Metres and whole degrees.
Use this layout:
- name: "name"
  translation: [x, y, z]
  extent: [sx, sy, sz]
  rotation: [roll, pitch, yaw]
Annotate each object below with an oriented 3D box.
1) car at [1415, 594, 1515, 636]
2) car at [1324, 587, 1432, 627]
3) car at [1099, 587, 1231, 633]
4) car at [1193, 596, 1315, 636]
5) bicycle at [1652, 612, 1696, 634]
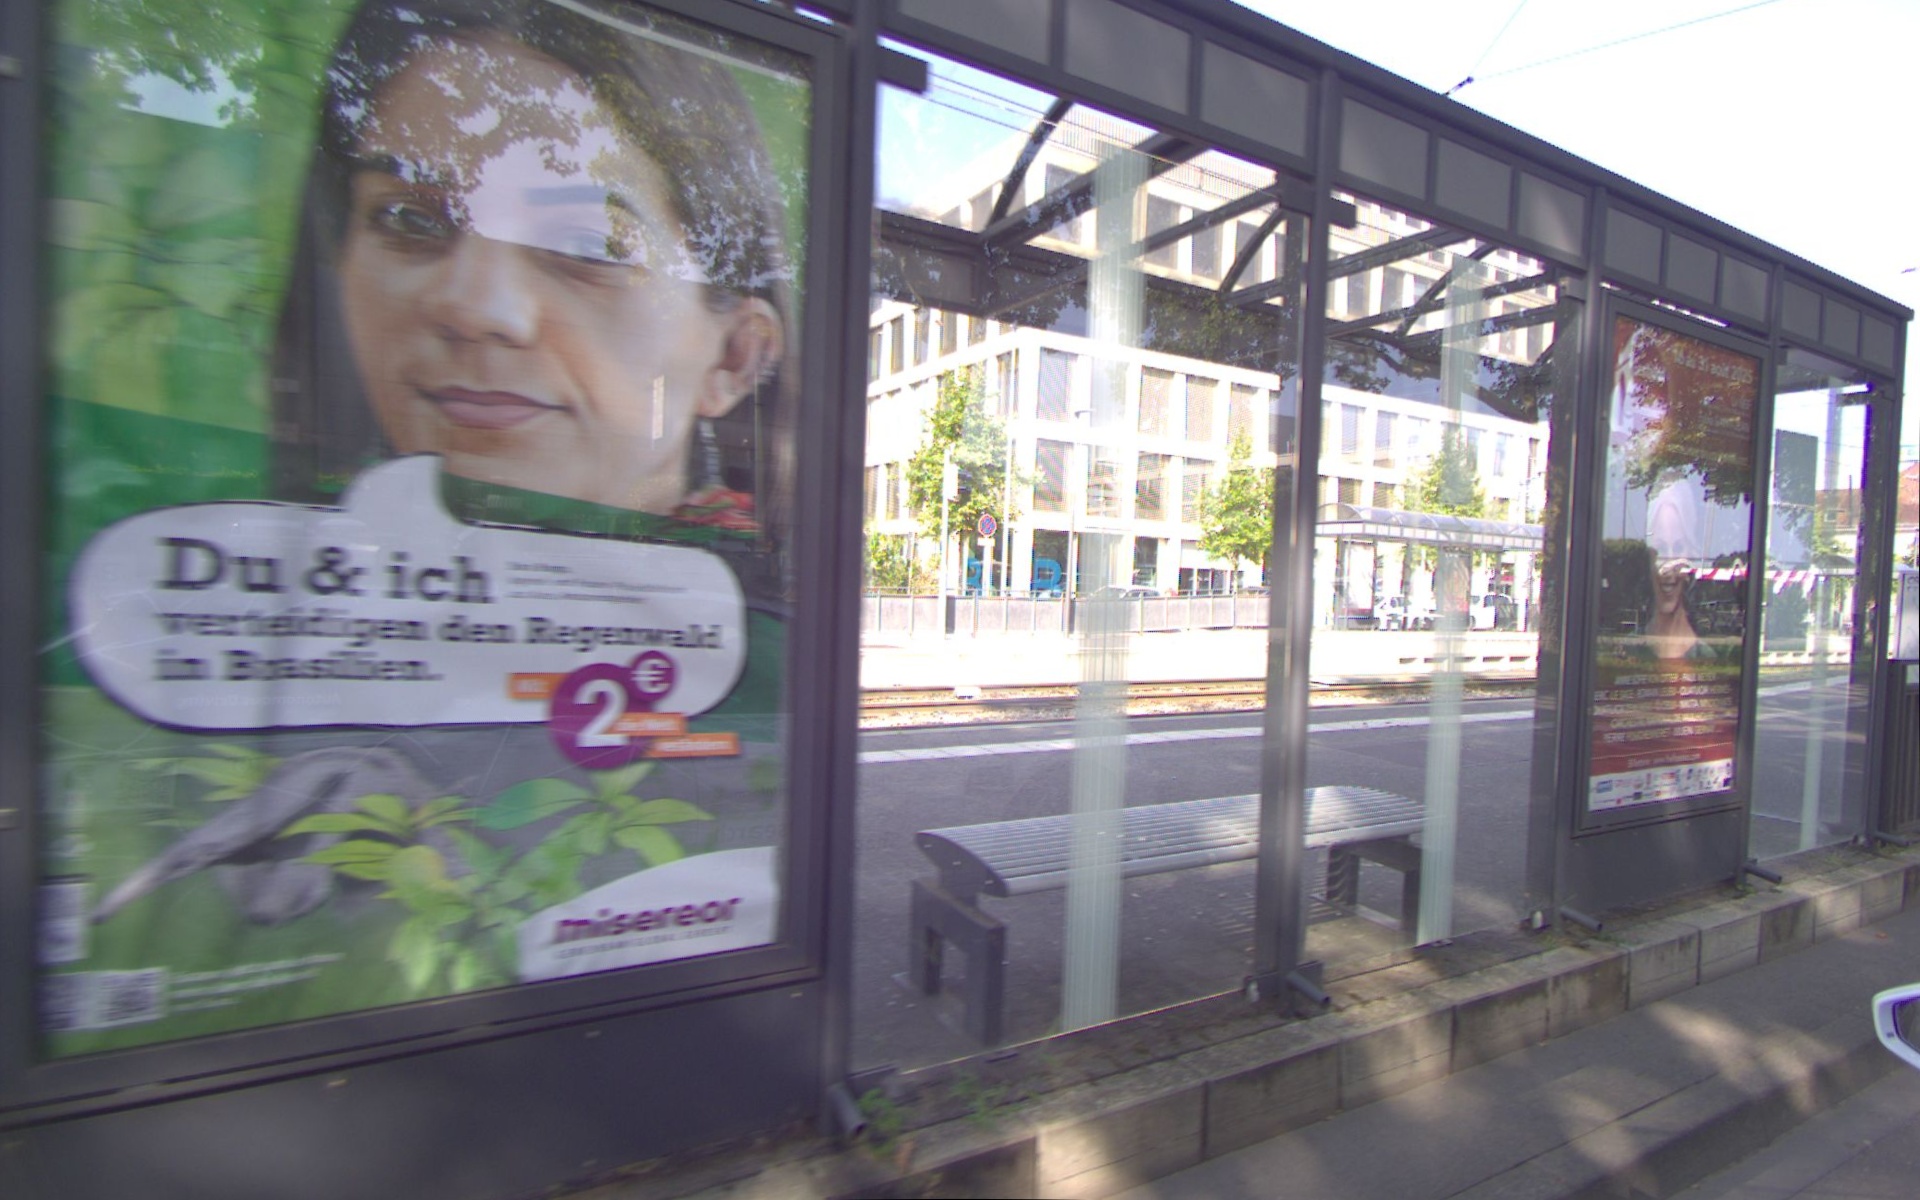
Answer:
- name: "car"
  translation: [20.679, 0.619, 41.072]
  extent: [4.174, 1.571, 1.634]
  rotation: [1, 1, -31]
- name: "car"
  translation: [16.028, 0.282, 38.438]
  extent: [4.174, 1.395, 1.634]
  rotation: [1, 1, -31]
- name: "car"
  translation: [6.671, 0.330, 32.551]
  extent: [4.174, 1.395, 1.634]
  rotation: [1, 1, -31]
- name: "car"
  translation: [10.184, 0.577, 34.703]
  extent: [4.174, 1.270, 1.634]
  rotation: [1, 1, -31]
- name: "bicycle"
  translation: [23.670, 0.772, 33.281]
  extent: [1.592, 0.671, 0.475]
  rotation: [1, 1, -26]
